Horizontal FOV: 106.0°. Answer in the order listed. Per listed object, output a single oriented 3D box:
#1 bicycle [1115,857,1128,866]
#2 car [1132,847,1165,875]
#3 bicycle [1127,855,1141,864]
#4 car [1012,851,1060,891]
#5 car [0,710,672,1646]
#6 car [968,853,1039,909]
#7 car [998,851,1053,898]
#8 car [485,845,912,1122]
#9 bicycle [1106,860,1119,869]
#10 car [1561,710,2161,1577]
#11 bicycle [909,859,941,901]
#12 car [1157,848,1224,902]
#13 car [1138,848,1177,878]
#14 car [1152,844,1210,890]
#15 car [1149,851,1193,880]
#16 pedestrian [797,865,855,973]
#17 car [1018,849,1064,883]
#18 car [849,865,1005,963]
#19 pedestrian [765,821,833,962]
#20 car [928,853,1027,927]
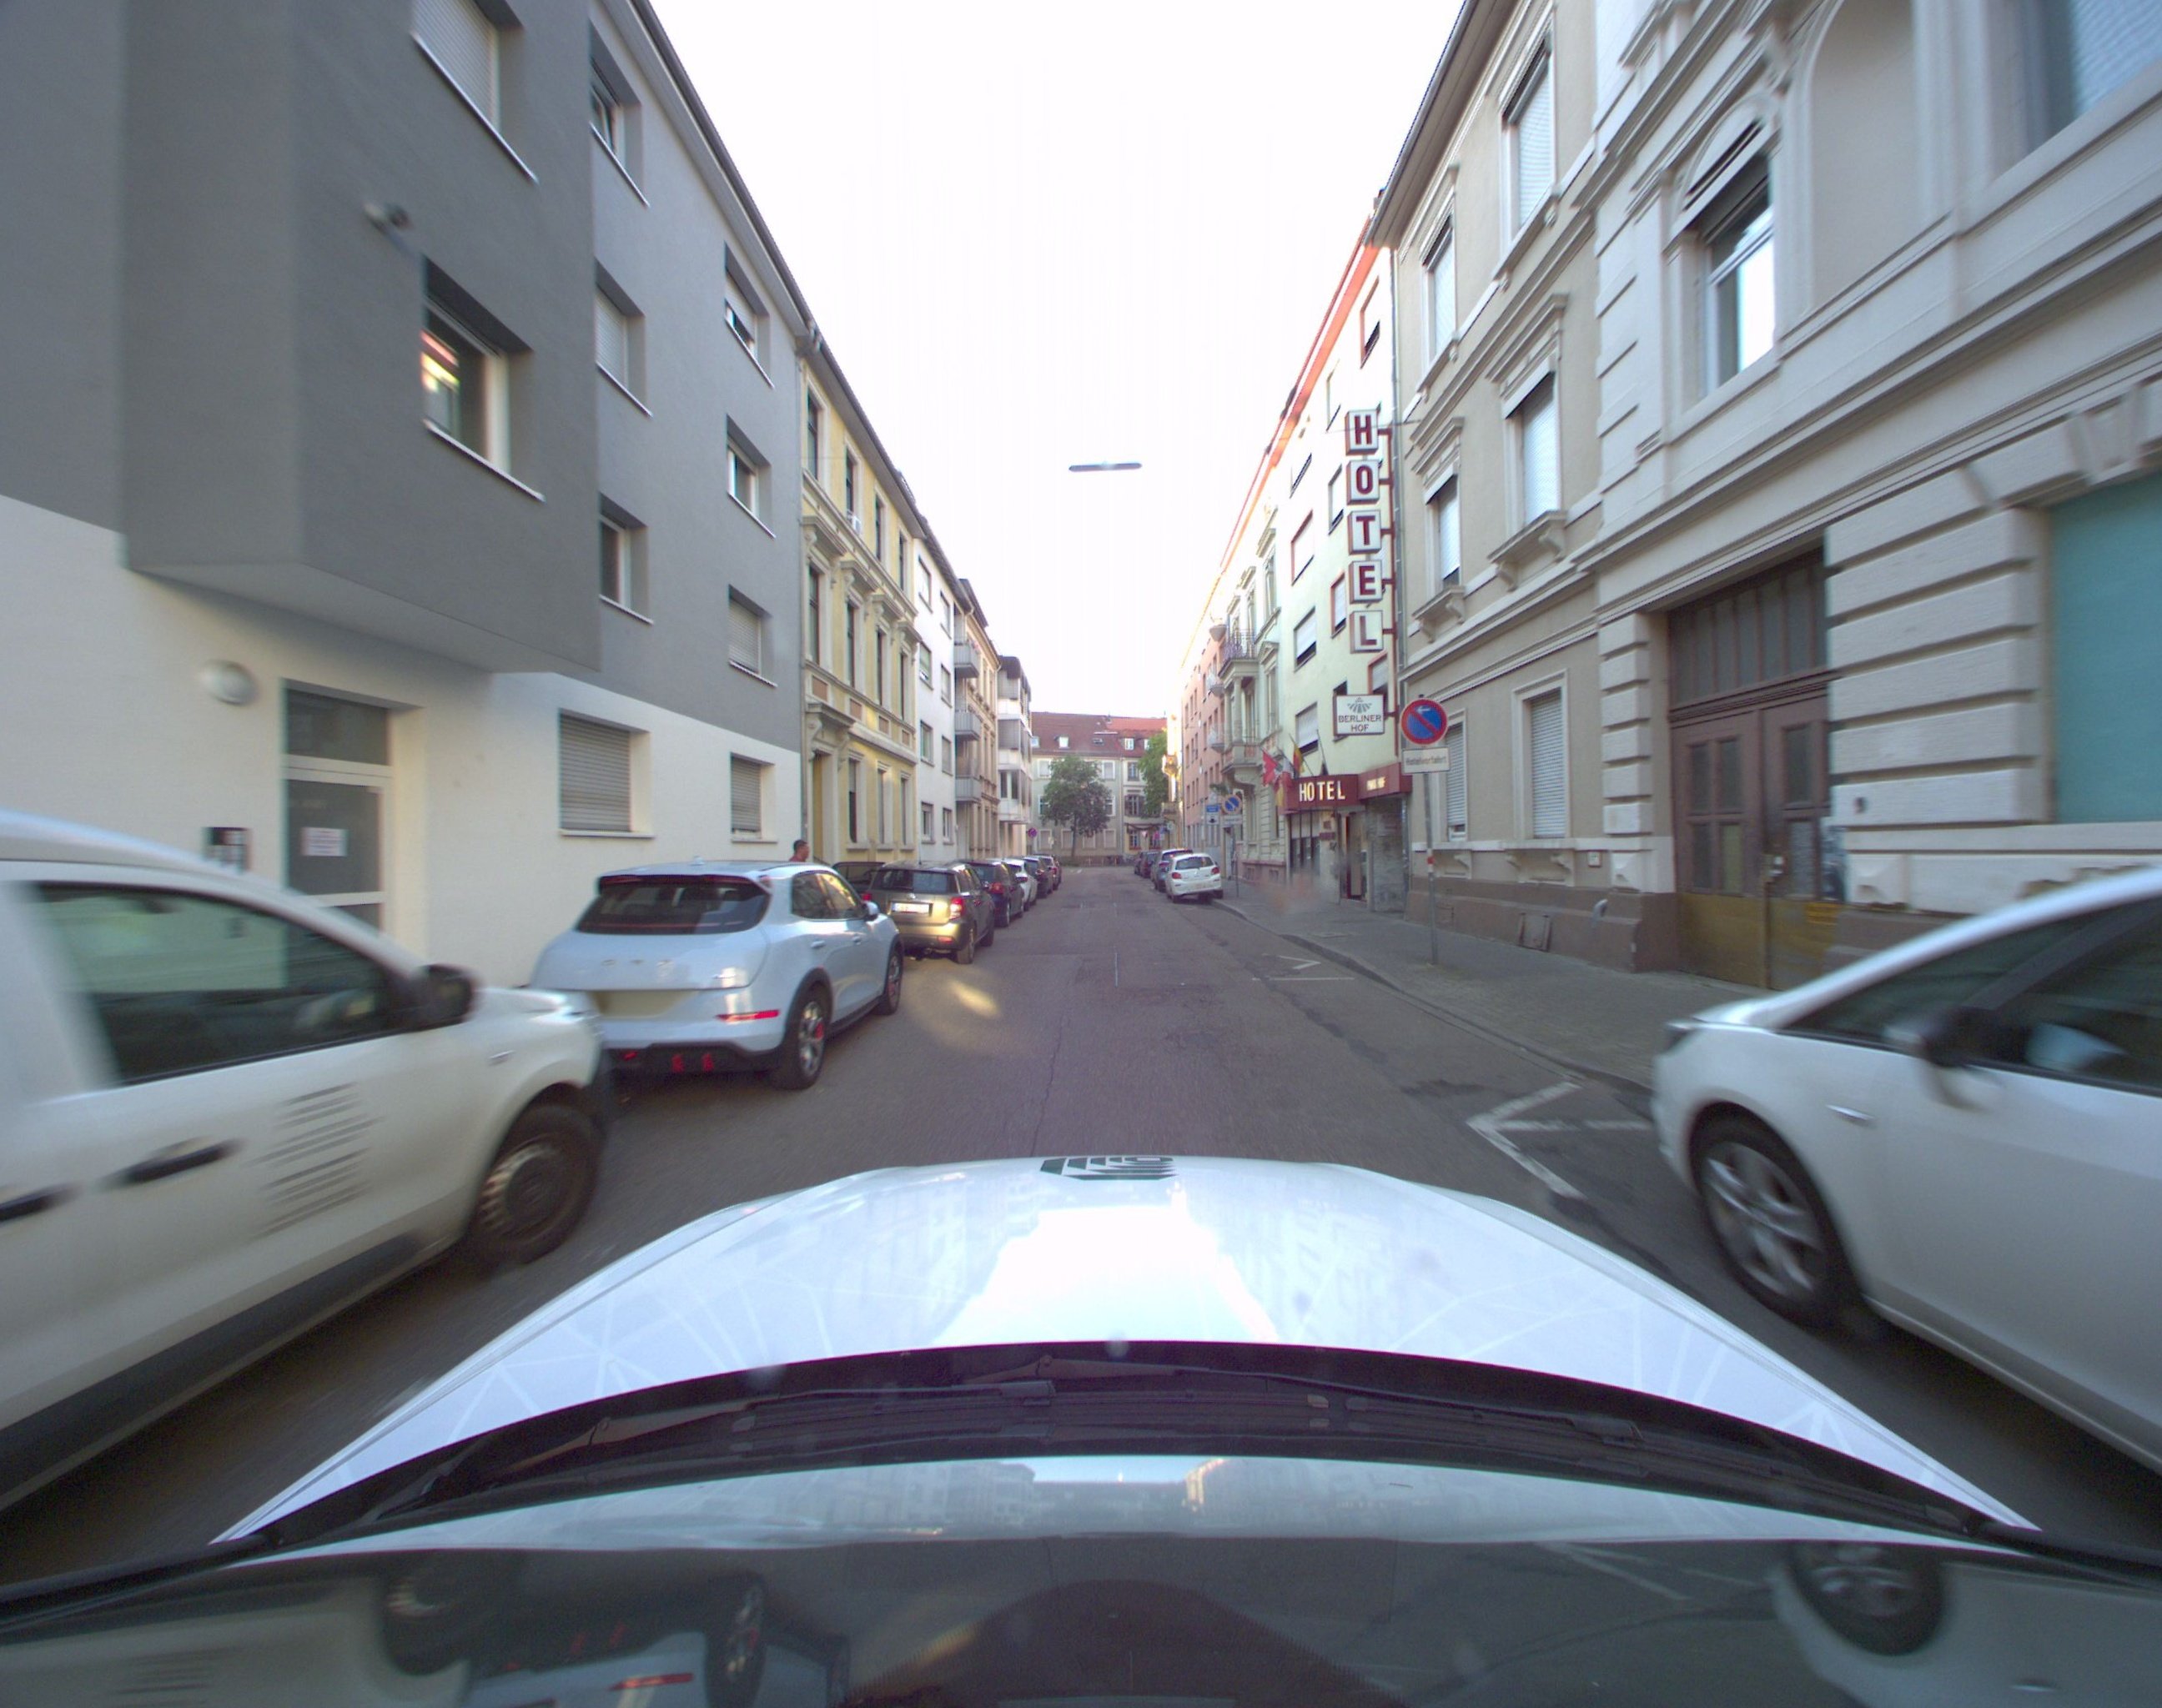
[{"bbox_3d":[4.202,0.767,84.443,0.521,0.894,1.708,-2,3,-31],"label":"bicycle"},{"bbox_3d":[4.442,0.432,54.109,1.985,1.761,4.003,-1,0,3],"label":"car"},{"bbox_3d":[5.504,0.607,85.042,0.521,0.949,1.708,-1,0,-31],"label":"bicycle"},{"bbox_3d":[-1.950,0.697,36.480,1.988,1.666,4.406,-1,0,-2],"label":"car"},{"bbox_3d":[-2.913,0.636,1.990,1.625,1.813,4.186,-1,1,1],"label":"car"},{"bbox_3d":[-2.227,0.754,24.346,1.624,1.472,3.756,-1,1,2],"label":"car"},{"bbox_3d":[-1.985,0.696,30.394,1.608,1.570,4.305,-1,1,2],"label":"car"},{"bbox_3d":[-2.724,0.741,7.049,1.759,1.563,4.362,-1,1,-3],"label":"car"},{"bbox_3d":[3.316,1.089,85.910,0.521,0.949,1.708,-1,-1,-31],"label":"bicycle"},{"bbox_3d":[3.038,0.563,1.473,1.810,1.723,4.463,-1,1,2],"label":"car"},{"bbox_3d":[-4.835,0.784,25.411,0.521,1.200,2.123,-2,0,1],"label":"bicycle"},{"bbox_3d":[3.540,0.622,26.819,1.656,1.458,3.761,-7,0,2],"label":"car"},{"bbox_3d":[4.549,0.521,48.857,1.987,1.708,4.000,-1,0,0],"label":"car"},{"bbox_3d":[4.009,0.479,33.281,1.986,1.732,4.062,-1,0,2],"label":"car"},{"bbox_3d":[4.577,0.571,41.716,1.985,1.384,3.709,-1,0,3],"label":"car"},{"bbox_3d":[-3.539,0.870,11.281,0.663,1.410,0.667,-1,0,-26],"label":"pedestrian"},{"bbox_3d":[-2.022,0.592,42.656,1.985,1.662,3.980,-1,0,3],"label":"car"},{"bbox_3d":[-2.351,0.865,13.481,1.677,1.332,4.133,-1,-1,1],"label":"car"},{"bbox_3d":[-4.183,0.537,12.136,0.797,2.013,0.773,-1,0,-9],"label":"pedestrian"},{"bbox_3d":[-2.339,0.779,19.320,1.721,1.509,3.832,-1,1,2],"label":"car"}]
